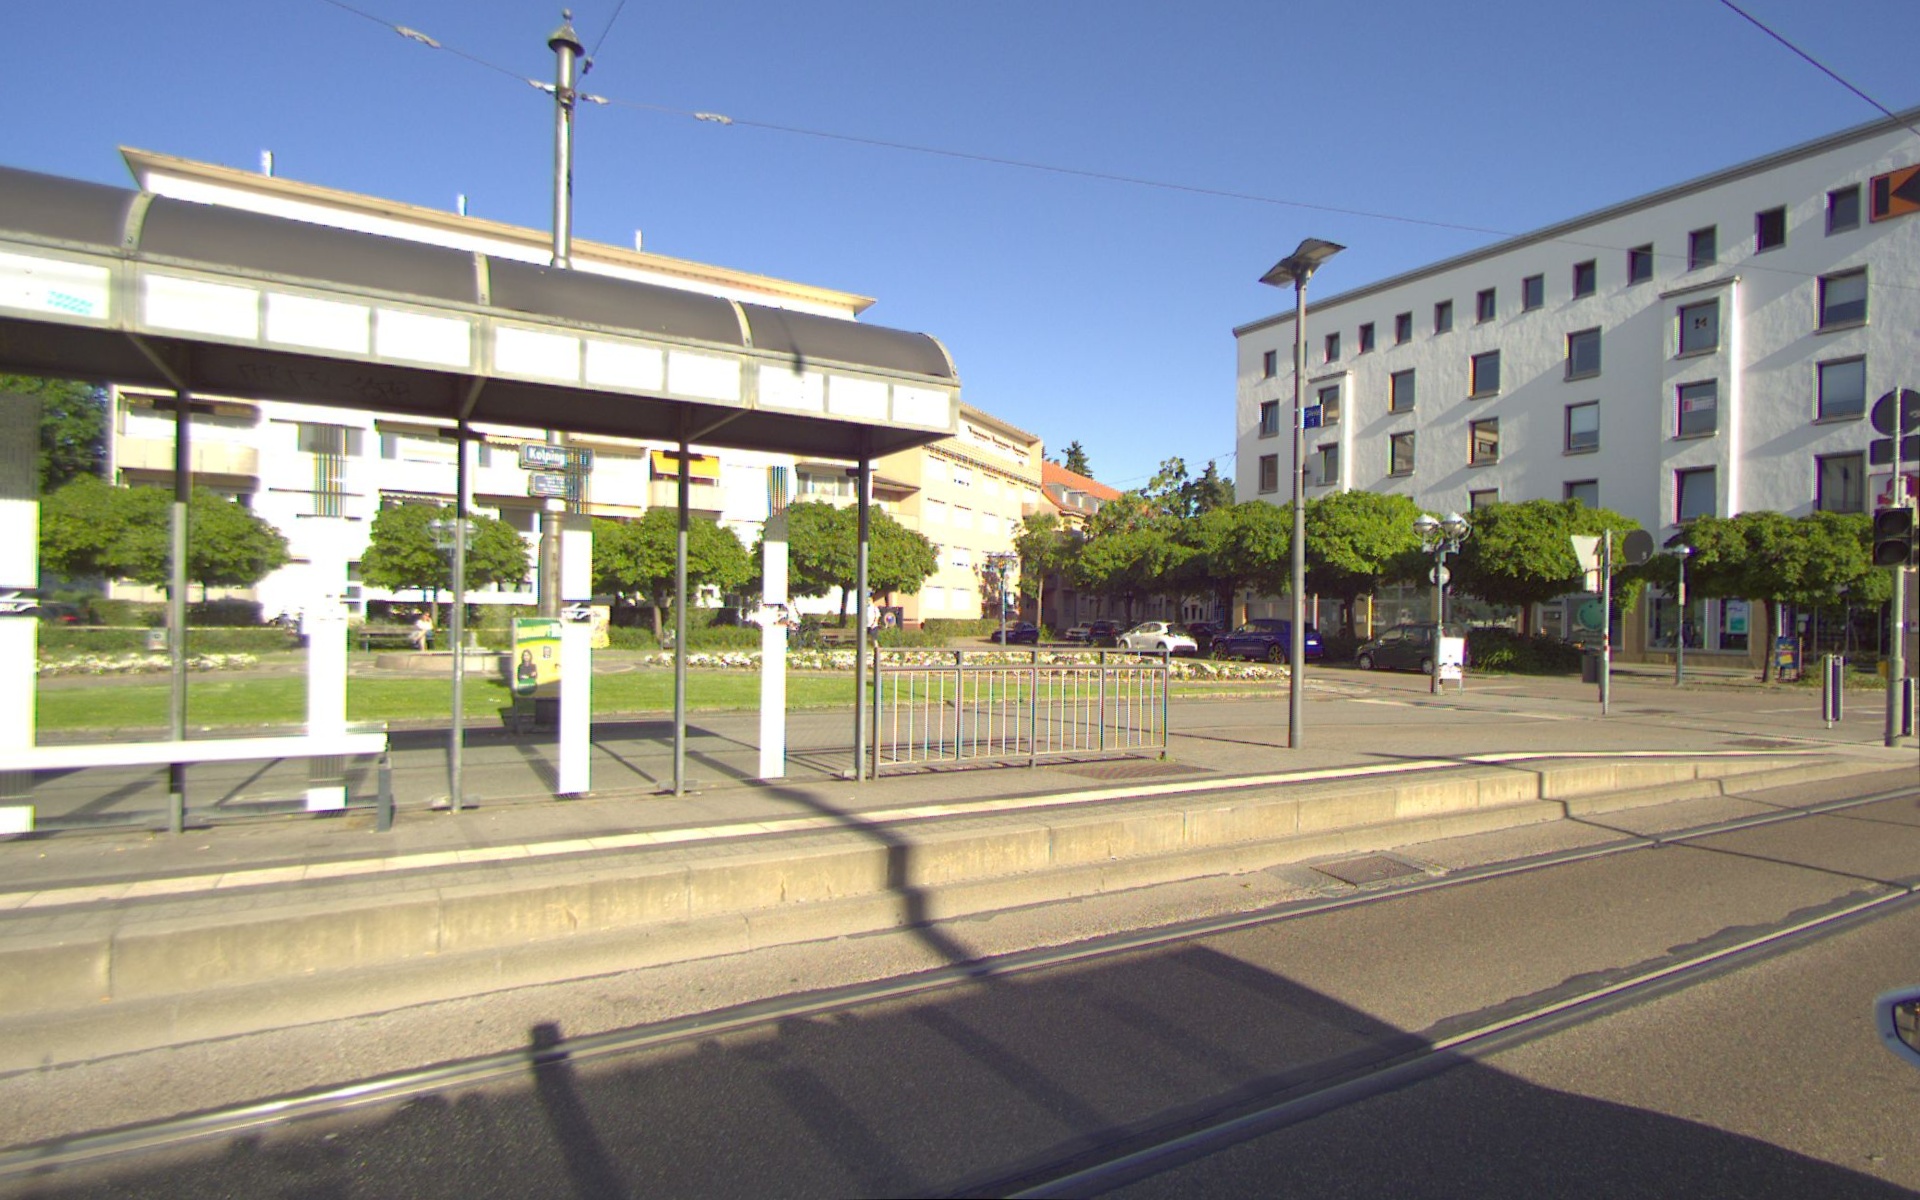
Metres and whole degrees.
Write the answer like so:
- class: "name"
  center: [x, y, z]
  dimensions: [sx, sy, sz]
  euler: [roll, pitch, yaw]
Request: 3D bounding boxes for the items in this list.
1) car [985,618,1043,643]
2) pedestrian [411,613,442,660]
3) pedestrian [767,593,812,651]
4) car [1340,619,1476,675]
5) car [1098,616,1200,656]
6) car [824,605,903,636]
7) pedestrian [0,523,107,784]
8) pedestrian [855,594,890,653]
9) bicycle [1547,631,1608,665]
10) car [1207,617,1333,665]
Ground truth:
- class: "car"
  center: [3.463, 1.918, 63.593]
  dimensions: [1.887, 1.514, 4.343]
  euler: [2, 0, 31]
- class: "pedestrian"
  center: [-16.079, 1.103, 30.273]
  dimensions: [0.673, 1.378, 1.042]
  euler: [2, -1, -35]
- class: "pedestrian"
  center: [-6.127, 0.785, 36.159]
  dimensions: [1.219, 2.040, 1.214]
  euler: [2, -1, -30]
- class: "car"
  center: [15.301, 1.559, 34.465]
  dimensions: [1.804, 1.728, 3.968]
  euler: [2, -1, -30]
- class: "car"
  center: [8.296, 1.563, 44.519]
  dimensions: [1.835, 1.628, 4.581]
  euler: [2, -1, -31]
- class: "car"
  center: [-4.470, 0.966, 46.563]
  dimensions: [3.271, 1.372, 1.638]
  euler: [2, -1, -29]
- class: "pedestrian"
  center: [-6.682, 0.350, 6.816]
  dimensions: [0.955, 1.702, 0.996]
  euler: [0, -1, 21]
- class: "pedestrian"
  center: [-2.789, 0.736, 31.975]
  dimensions: [0.856, 1.841, 0.944]
  euler: [1, -1, -19]
- class: "bicycle"
  center: [22.442, 1.743, 36.492]
  dimensions: [2.586, 1.206, 0.615]
  euler: [2, -1, -27]
- class: "car"
  center: [12.094, 1.560, 39.451]
  dimensions: [1.978, 1.684, 4.581]
  euler: [2, -1, -32]
